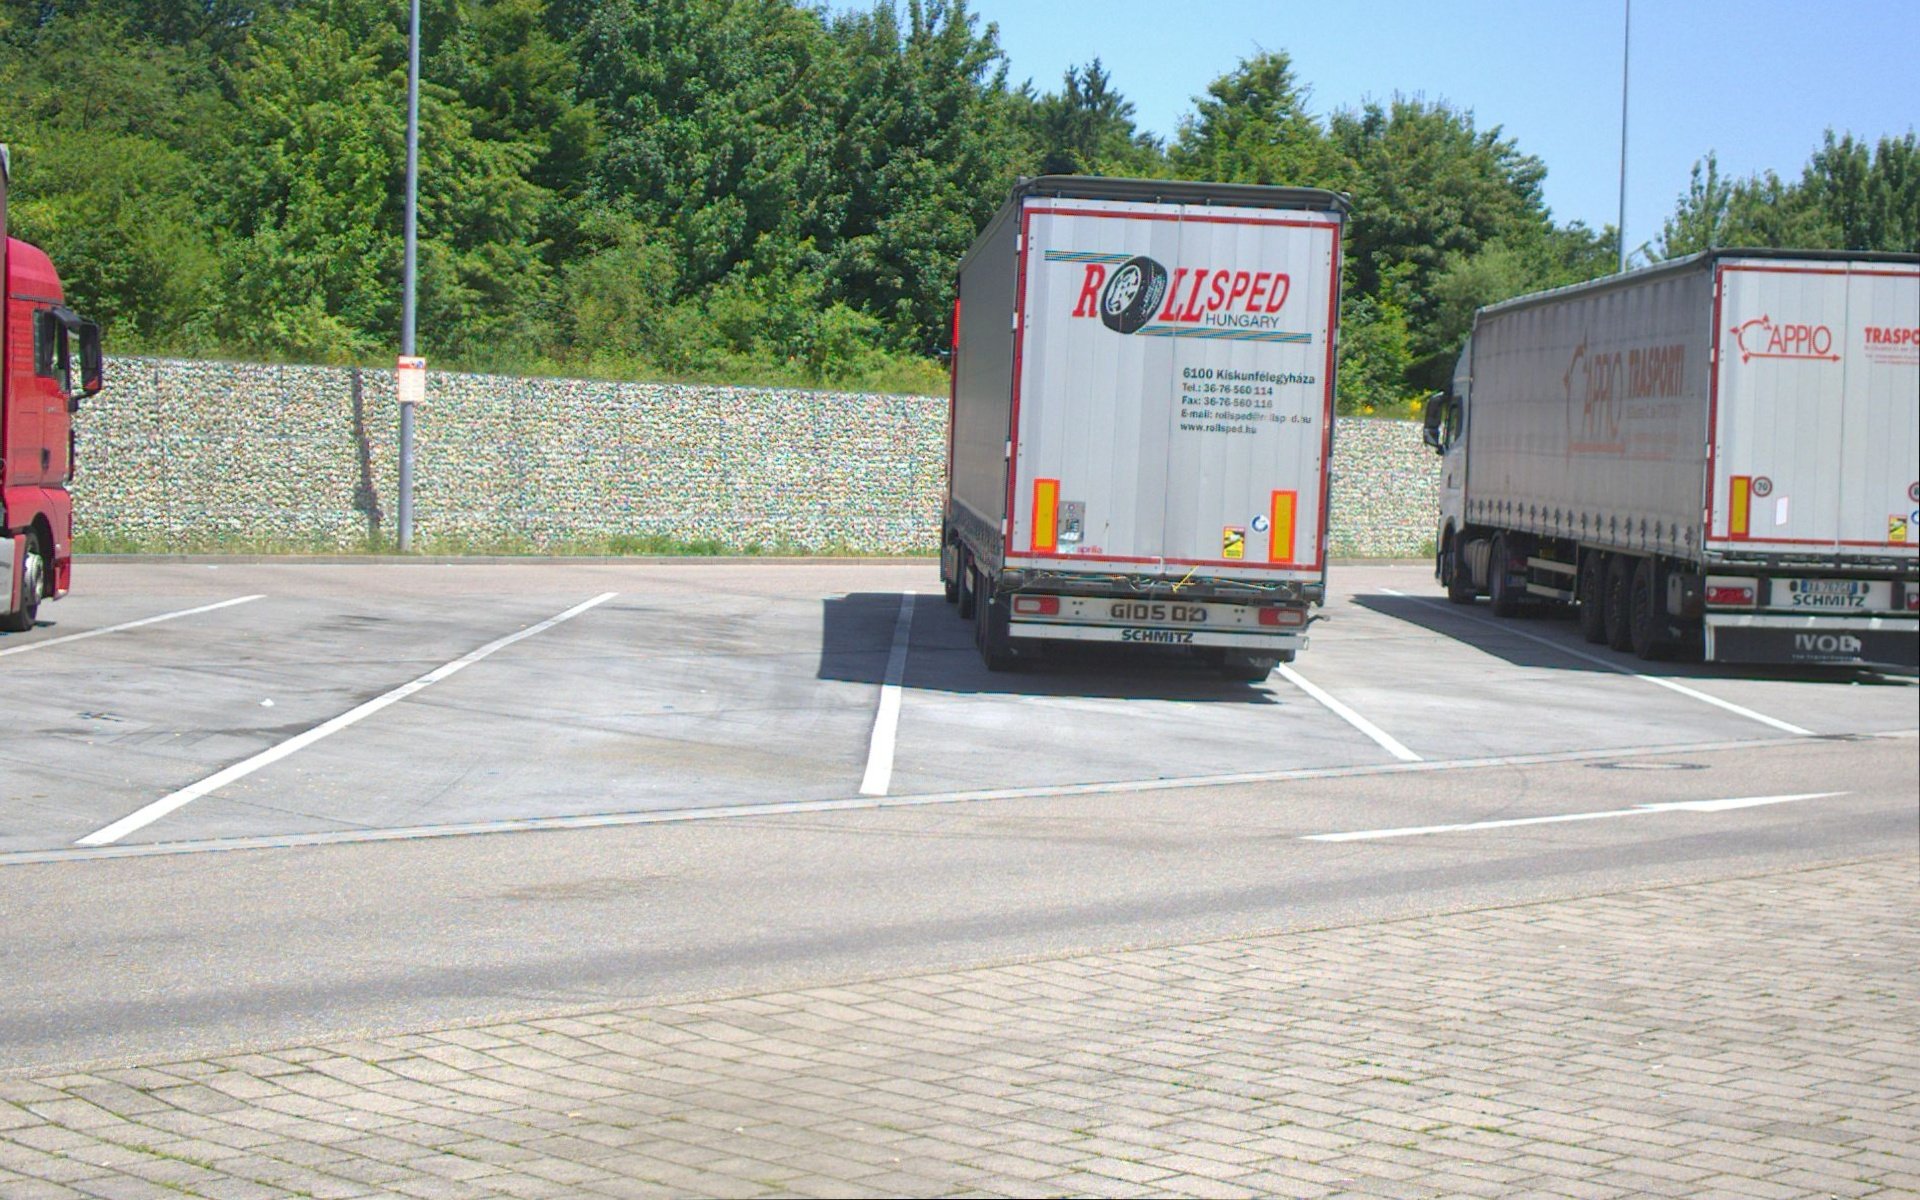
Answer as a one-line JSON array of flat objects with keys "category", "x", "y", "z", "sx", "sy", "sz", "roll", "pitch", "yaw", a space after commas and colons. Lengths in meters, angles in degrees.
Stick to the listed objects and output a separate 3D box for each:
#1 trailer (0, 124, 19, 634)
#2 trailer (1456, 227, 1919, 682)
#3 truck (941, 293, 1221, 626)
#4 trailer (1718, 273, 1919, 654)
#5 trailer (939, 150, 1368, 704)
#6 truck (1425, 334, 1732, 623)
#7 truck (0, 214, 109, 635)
[{"category": "trailer", "x": -9.154, "y": -1.490, "z": 21.286, "sx": 2.906, "sy": 4.118, "sz": 13.725, "roll": 2, "pitch": 3, "yaw": -1}, {"category": "trailer", "x": 8.151, "y": -1.631, "z": 38.670, "sx": 2.838, "sy": 4.118, "sz": 13.724, "roll": 2, "pitch": 3, "yaw": -1}, {"category": "truck", "x": 1.286, "y": -1.631, "z": 39.794, "sx": 2.852, "sy": 3.472, "sz": 5.483, "roll": 2, "pitch": 2, "yaw": -1}, {"category": "trailer", "x": 11.788, "y": -1.535, "z": 39.422, "sx": 2.838, "sy": 4.118, "sz": 13.724, "roll": 2, "pitch": 3, "yaw": -1}, {"category": "trailer", "x": 1.434, "y": -1.625, "z": 33.181, "sx": 2.906, "sy": 4.118, "sz": 13.725, "roll": 2, "pitch": 3, "yaw": -1}, {"category": "truck", "x": 8.059, "y": -1.629, "z": 45.483, "sx": 2.852, "sy": 3.472, "sz": 5.483, "roll": 2, "pitch": 2, "yaw": -1}, {"category": "truck", "x": -9.243, "y": -1.505, "z": 28.725, "sx": 2.852, "sy": 3.416, "sz": 5.483, "roll": 2, "pitch": 2, "yaw": -1}]
